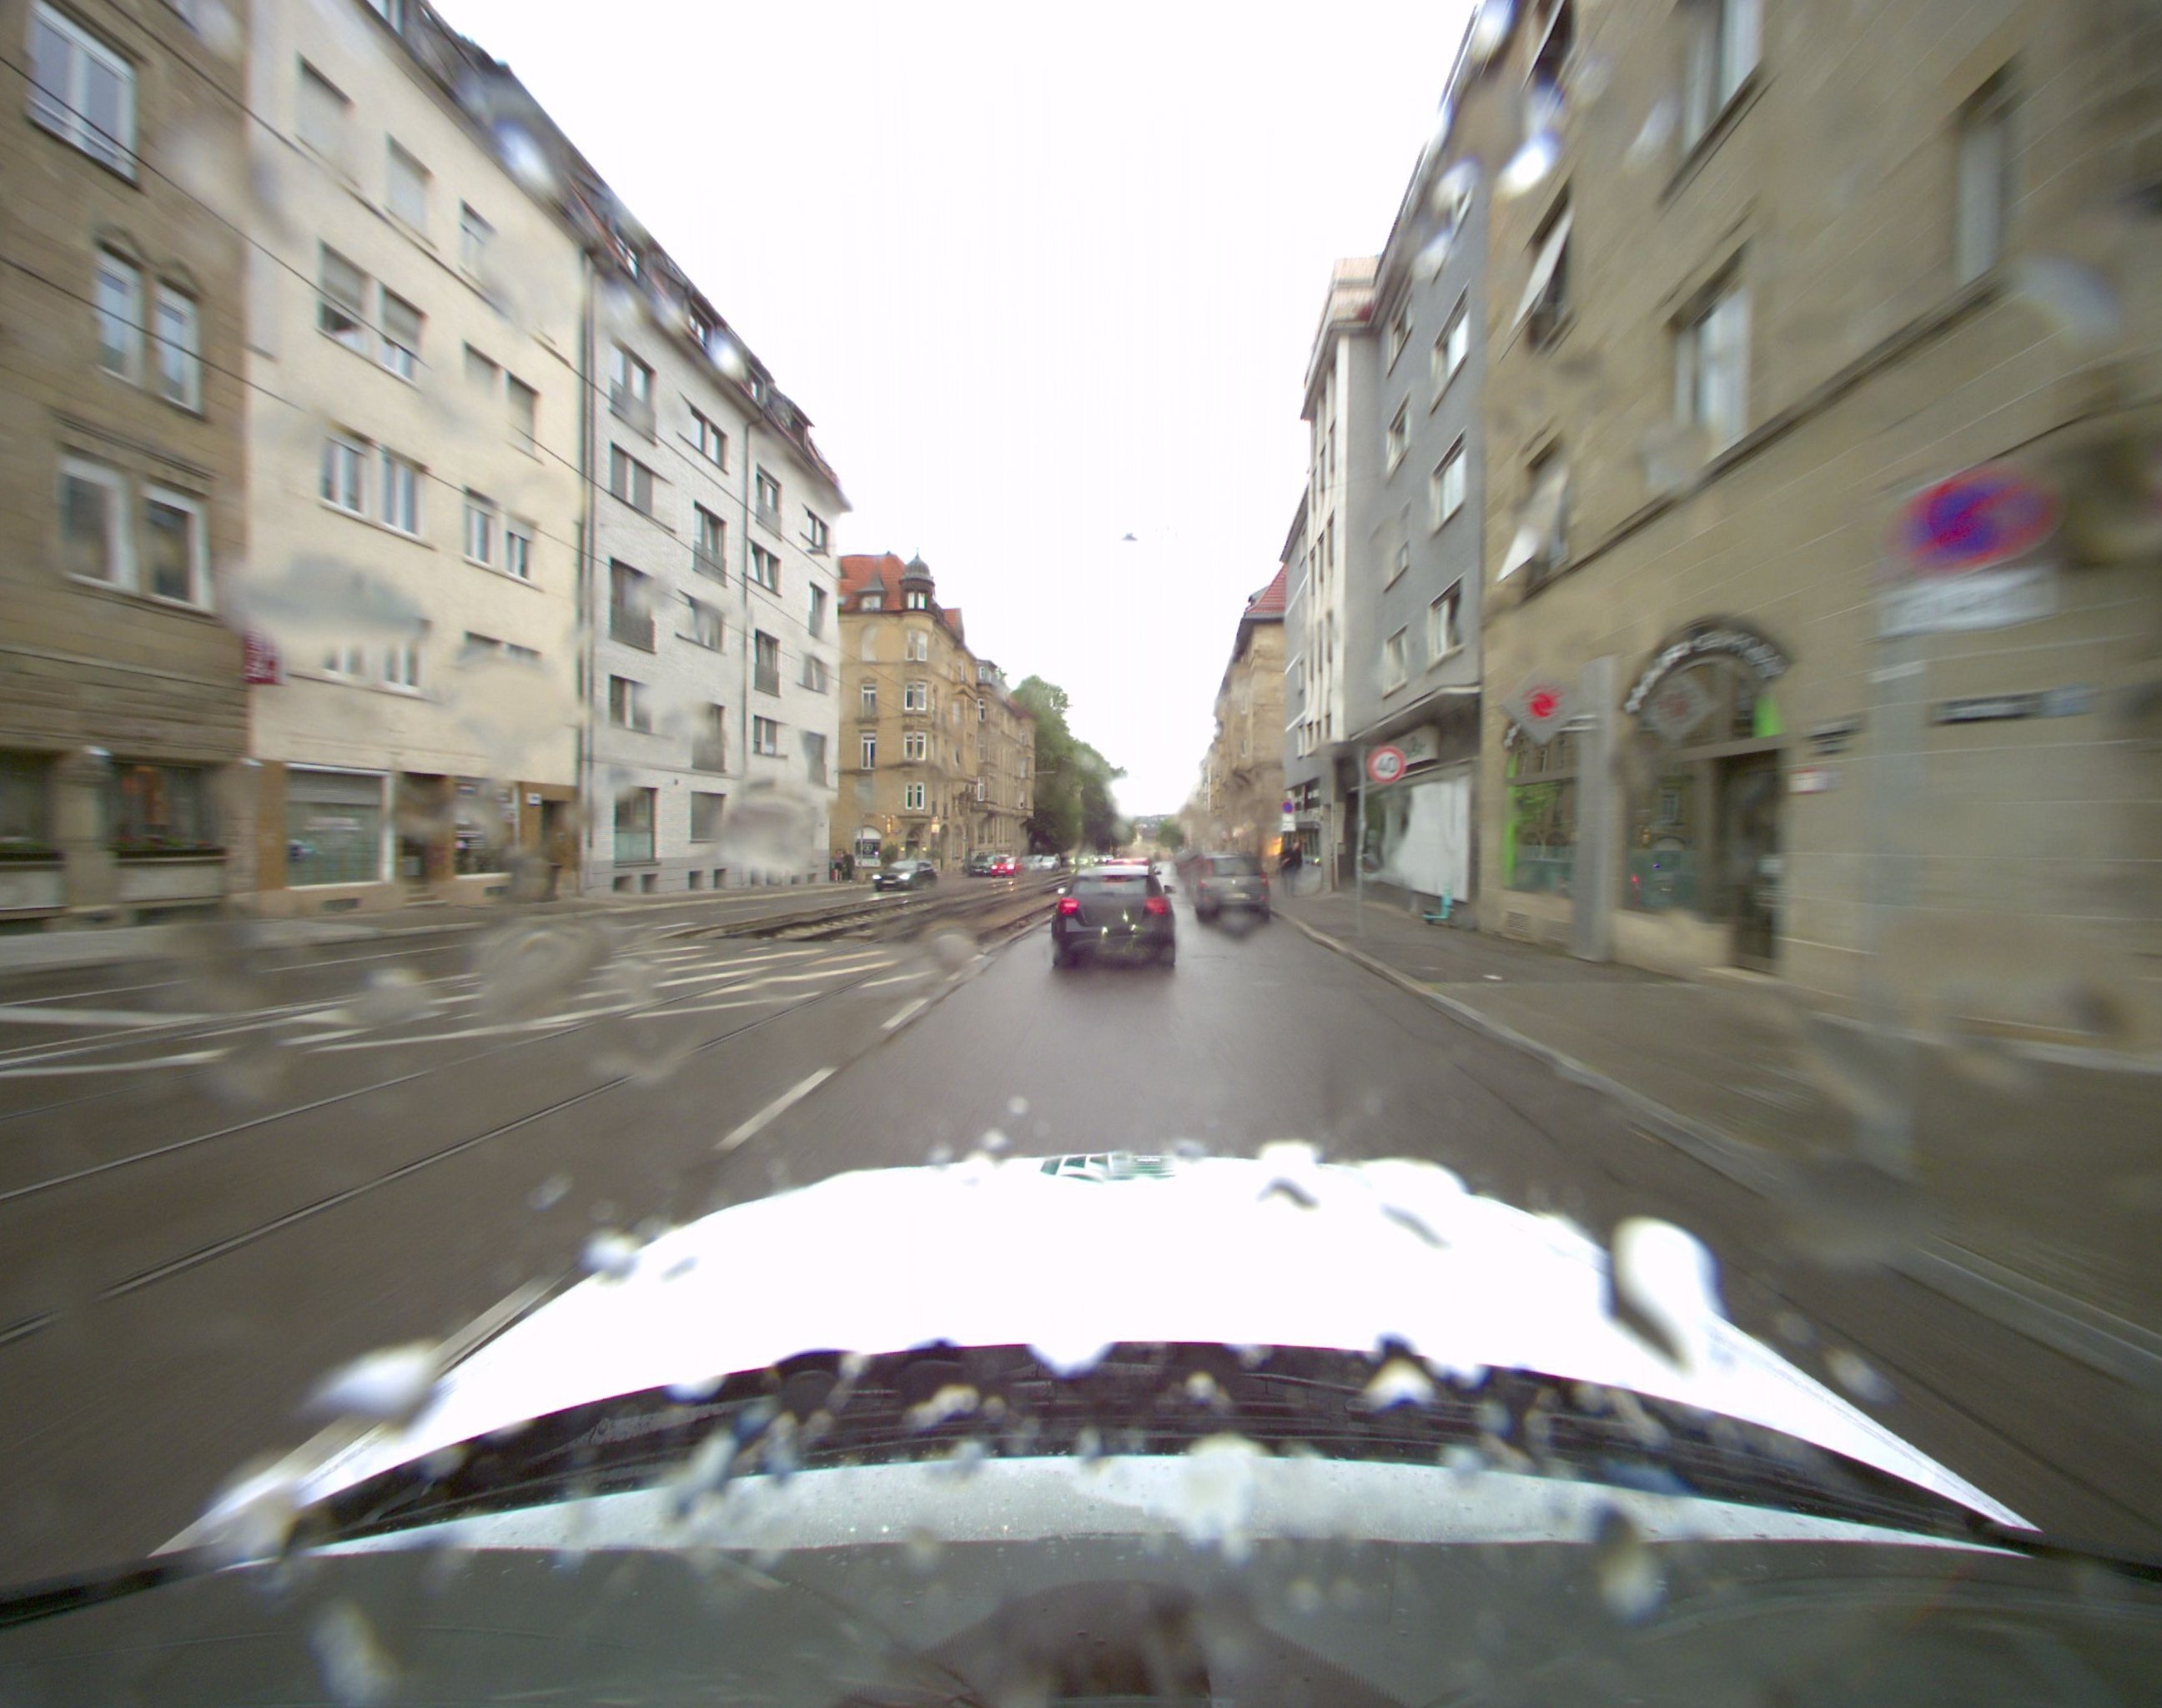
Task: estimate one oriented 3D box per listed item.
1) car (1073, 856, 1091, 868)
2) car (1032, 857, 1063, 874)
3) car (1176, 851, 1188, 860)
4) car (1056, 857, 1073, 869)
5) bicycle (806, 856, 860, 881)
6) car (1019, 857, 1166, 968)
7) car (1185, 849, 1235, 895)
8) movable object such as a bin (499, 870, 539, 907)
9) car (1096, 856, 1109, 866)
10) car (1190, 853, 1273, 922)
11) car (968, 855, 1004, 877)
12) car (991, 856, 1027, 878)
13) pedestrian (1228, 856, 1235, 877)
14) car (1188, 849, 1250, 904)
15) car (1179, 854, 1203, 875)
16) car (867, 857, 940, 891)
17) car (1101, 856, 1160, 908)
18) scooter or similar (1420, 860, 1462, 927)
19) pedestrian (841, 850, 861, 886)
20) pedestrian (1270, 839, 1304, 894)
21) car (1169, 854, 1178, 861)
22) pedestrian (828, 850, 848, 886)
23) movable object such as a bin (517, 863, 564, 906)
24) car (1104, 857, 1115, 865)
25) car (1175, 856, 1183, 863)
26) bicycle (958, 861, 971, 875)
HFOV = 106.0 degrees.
[{"bbox_3d":[0.107,0.937,97.405,1.685,1.388,3.489,-1,0,8],"label":"car"},{"bbox_3d":[-2.839,0.948,70.235,1.796,1.360,4.774,-1,0,8],"label":"car"},{"bbox_3d":[14.292,0.236,115.286,1.605,1.317,4.007,-1,0,6],"label":"car"},{"bbox_3d":[-2.112,1.136,104.725,1.560,1.413,3.489,-1,0,8],"label":"car"},{"bbox_3d":[-16.497,0.972,54.186,3.141,1.584,1.595,-1,0,-6],"label":"bicycle"},{"bbox_3d":[0.352,0.795,13.029,1.856,1.452,4.009,0,0,8],"label":"car"},{"bbox_3d":[5.092,0.676,32.528,1.741,1.670,4.711,-1,0,6],"label":"car"},{"bbox_3d":[-14.745,0.899,21.385,0.591,0.911,0.561,3,0,6],"label":"movable object such as a bin"},{"bbox_3d":[3.255,1.096,125.187,1.560,1.413,3.489,-1,0,8],"label":"car"},{"bbox_3d":[3.750,0.779,20.955,1.756,1.559,4.754,-1,0,6],"label":"car"},{"bbox_3d":[-6.991,0.887,60.167,1.712,1.541,3.942,-1,0,8],"label":"car"},{"bbox_3d":[-4.979,0.886,56.480,1.671,1.497,3.527,-1,0,9],"label":"car"},{"bbox_3d":[10.330,0.843,55.985,0.452,1.467,0.611,0,0,6],"label":"pedestrian"},{"bbox_3d":[4.480,0.688,26.859,1.674,1.670,4.128,-1,0,5],"label":"car"},{"bbox_3d":[7.935,0.744,59.051,1.613,1.485,4.007,-1,0,6],"label":"car"},{"bbox_3d":[-7.993,0.871,37.093,1.938,1.397,4.282,-1,0,7],"label":"car"},{"bbox_3d":[1.621,0.799,25.374,1.641,1.452,4.007,0,0,6],"label":"car"},{"bbox_3d":[6.876,0.732,15.582,0.393,1.216,1.108,0,0,4],"label":"scooter or similar"},{"bbox_3d":[-11.595,0.722,41.057,0.626,1.787,0.883,-1,-2,5],"label":"pedestrian"},{"bbox_3d":[6.781,0.395,26.847,0.941,1.769,1.016,0,0,4],"label":"pedestrian"},{"bbox_3d":[17.205,0.663,151.987,1.605,1.317,4.007,-1,0,6],"label":"car"},{"bbox_3d":[-12.242,0.709,41.091,0.637,1.787,0.925,-1,-2,5],"label":"pedestrian"},{"bbox_3d":[-14.603,0.814,22.018,0.709,1.074,0.688,3,0,6],"label":"movable object such as a bin"},{"bbox_3d":[5.021,1.166,142.092,1.560,1.413,3.489,-1,0,8],"label":"car"},{"bbox_3d":[20.709,1.195,171.912,1.605,1.317,4.007,1,0,6],"label":"car"},{"bbox_3d":[-8.770,1.072,61.500,0.596,1.000,2.080,-1,0,2],"label":"bicycle"}]
